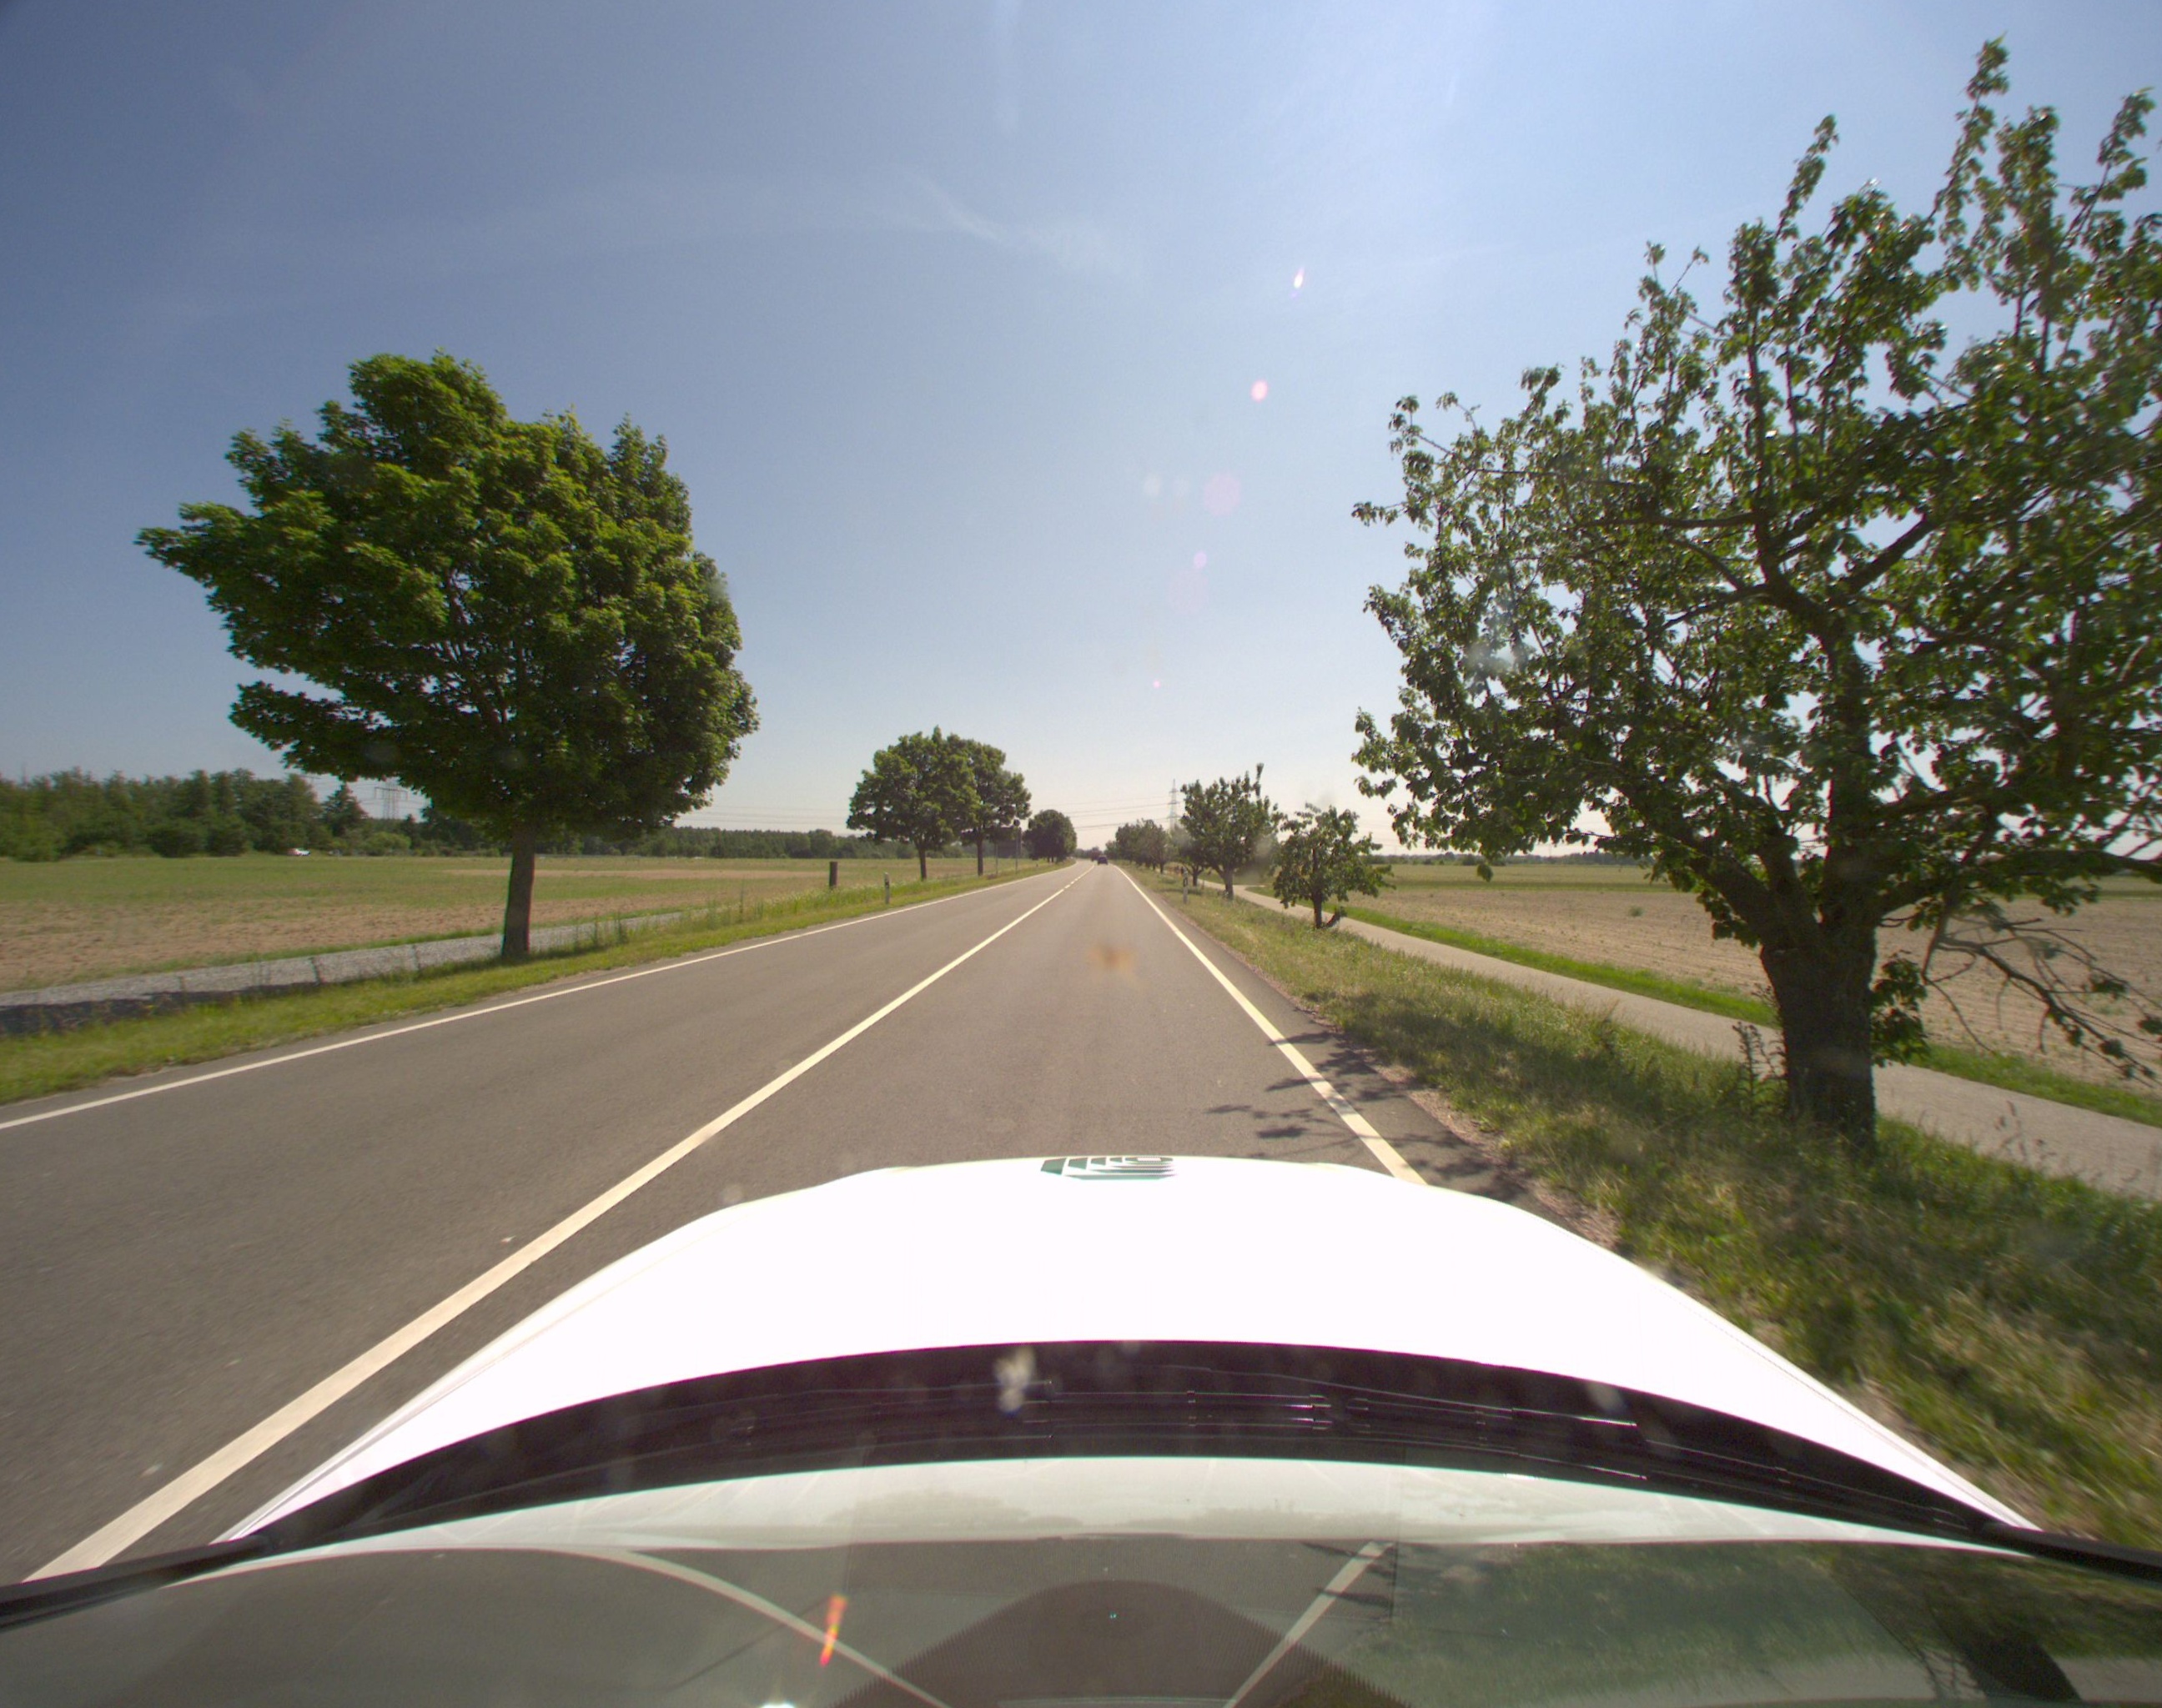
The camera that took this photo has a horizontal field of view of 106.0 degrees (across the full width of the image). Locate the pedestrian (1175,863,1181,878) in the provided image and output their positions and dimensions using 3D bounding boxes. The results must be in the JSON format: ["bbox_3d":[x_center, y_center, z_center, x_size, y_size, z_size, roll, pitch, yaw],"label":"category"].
[{"bbox_3d":[11.619,1.970,97.394,0.554,1.721,0.603,3,0,-6],"label":"pedestrian"}]

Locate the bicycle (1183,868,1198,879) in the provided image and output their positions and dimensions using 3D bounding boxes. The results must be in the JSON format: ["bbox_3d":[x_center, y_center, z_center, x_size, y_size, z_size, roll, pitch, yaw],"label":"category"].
[{"bbox_3d":[12.472,2.247,93.087,1.216,1.165,2.434,3,0,-3],"label":"bicycle"}]

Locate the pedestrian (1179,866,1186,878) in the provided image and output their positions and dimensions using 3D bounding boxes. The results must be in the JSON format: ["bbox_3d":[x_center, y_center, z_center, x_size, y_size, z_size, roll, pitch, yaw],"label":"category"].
[{"bbox_3d":[12.026,2.162,96.598,0.554,1.371,0.603,3,0,-6],"label":"pedestrian"}]

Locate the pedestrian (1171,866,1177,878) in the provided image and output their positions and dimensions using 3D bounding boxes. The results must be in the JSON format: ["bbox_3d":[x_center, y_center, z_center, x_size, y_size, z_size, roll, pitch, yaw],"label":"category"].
[{"bbox_3d":[11.034,2.116,96.955,0.554,1.371,0.603,3,0,-6],"label":"pedestrian"}]

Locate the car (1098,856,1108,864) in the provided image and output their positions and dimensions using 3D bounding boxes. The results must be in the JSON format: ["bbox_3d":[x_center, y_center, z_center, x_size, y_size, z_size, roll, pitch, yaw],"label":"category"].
[{"bbox_3d":[4.143,1.100,152.096,1.878,1.518,4.041,3,0,2],"label":"car"}]

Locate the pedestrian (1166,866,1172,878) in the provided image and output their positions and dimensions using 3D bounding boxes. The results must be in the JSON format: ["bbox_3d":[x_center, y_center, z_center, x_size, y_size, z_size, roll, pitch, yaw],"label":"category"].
[{"bbox_3d":[10.478,2.092,96.516,0.554,1.371,0.603,3,0,-6],"label":"pedestrian"}]

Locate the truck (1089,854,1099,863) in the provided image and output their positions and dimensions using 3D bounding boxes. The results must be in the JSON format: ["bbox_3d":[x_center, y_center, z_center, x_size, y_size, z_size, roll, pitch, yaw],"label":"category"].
[{"bbox_3d":[4.286,1.508,262.723,3.161,2.861,9.517,0,0,2],"label":"truck"}]
